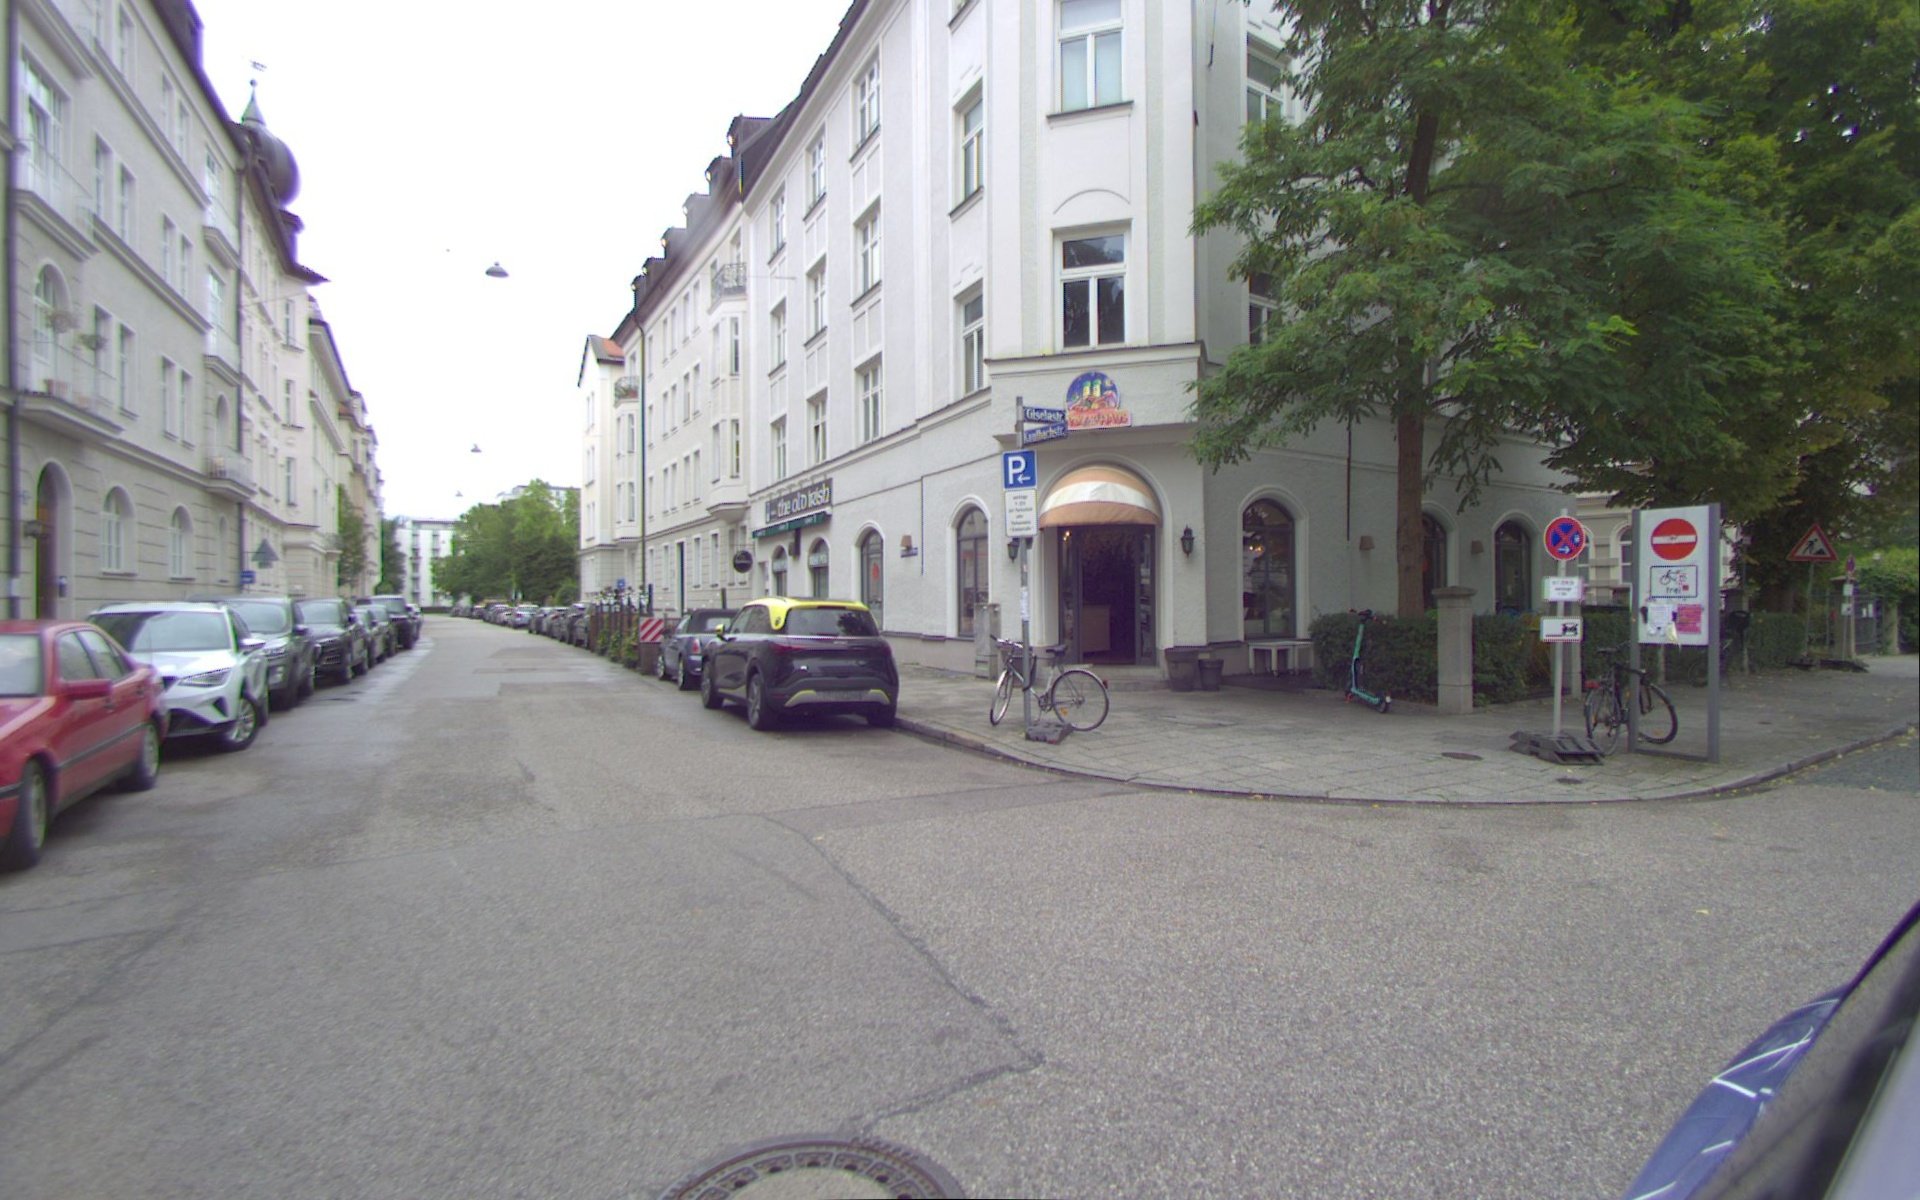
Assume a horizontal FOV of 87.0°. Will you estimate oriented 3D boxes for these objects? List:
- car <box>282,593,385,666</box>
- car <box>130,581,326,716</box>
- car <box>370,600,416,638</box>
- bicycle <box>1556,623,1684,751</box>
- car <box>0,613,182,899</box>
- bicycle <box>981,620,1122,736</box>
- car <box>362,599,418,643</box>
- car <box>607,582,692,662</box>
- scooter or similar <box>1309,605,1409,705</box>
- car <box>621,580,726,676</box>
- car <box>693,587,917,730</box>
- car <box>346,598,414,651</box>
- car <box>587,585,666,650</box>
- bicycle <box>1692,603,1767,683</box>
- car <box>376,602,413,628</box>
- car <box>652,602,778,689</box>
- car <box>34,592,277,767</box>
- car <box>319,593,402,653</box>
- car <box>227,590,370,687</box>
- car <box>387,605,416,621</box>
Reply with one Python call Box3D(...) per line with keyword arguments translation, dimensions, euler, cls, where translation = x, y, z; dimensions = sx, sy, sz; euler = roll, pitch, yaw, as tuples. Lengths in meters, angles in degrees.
Box3D(translation=(-15.766, 0.661, 25.656), dimensions=(1.851, 1.684, 4.299), euler=(0, 0, -27), cls="car")
Box3D(translation=(-10.924, 0.583, 15.417), dimensions=(1.716, 1.733, 4.350), euler=(0, 1, -26), cls="car")
Box3D(translation=(-25.527, 0.820, 45.632), dimensions=(1.629, 1.614, 3.752), euler=(0, 0, -26), cls="car")
Box3D(translation=(6.600, 0.833, 10.099), dimensions=(1.557, 1.161, 0.390), euler=(-1, 0, -30), cls="bicycle")
Box3D(translation=(-6.671, 0.820, 6.676), dimensions=(1.725, 1.375, 4.488), euler=(0, 0, -28), cls="car")
Box3D(translation=(1.005, 0.836, 11.474), dimensions=(0.725, 1.082, 1.607), euler=(-4, 4, -33), cls="bicycle")
Box3D(translation=(-23.089, 0.812, 41.114), dimensions=(1.818, 1.678, 3.937), euler=(-1, 0, -27), cls="car")
Box3D(translation=(-8.334, 0.541, 26.969), dimensions=(1.694, 1.959, 3.666), euler=(-1, 0, -25), cls="car")
Box3D(translation=(5.323, 0.698, 13.590), dimensions=(0.396, 1.186, 1.611), euler=(-1, 2, -13), cls="scooter or similar")
Box3D(translation=(-6.672, 0.589, 23.301), dimensions=(1.738, 1.994, 3.938), euler=(-1, 0, -25), cls="car")
Box3D(translation=(-2.285, 0.677, 13.860), dimensions=(1.866, 1.618, 4.094), euler=(-1, 0, -26), cls="car")
Box3D(translation=(-20.054, 0.794, 35.121), dimensions=(1.795, 1.692, 4.063), euler=(-1, 0, -26), cls="car")
Box3D(translation=(-10.228, 0.492, 30.864), dimensions=(1.707, 1.835, 4.006), euler=(-1, 0, -26), cls="car")
Box3D(translation=(12.670, 0.685, 16.644), dimensions=(1.698, 1.212, 0.429), euler=(-1, 5, -36), cls="bicycle")
Box3D(translation=(-35.715, 0.910, 63.911), dimensions=(1.960, 1.529, 4.003), euler=(-1, 0, -30), cls="car")
Box3D(translation=(-4.683, 0.780, 19.005), dimensions=(1.665, 1.443, 3.546), euler=(-1, 0, -24), cls="car")
Box3D(translation=(-8.540, 0.709, 11.053), dimensions=(1.534, 1.540, 3.902), euler=(-1, 0, -30), cls="car")
Box3D(translation=(-18.233, 0.650, 30.938), dimensions=(1.851, 1.685, 4.298), euler=(-1, 0, -26), cls="car")
Box3D(translation=(-12.844, 0.643, 19.894), dimensions=(1.851, 1.684, 4.299), euler=(0, 0, -26), cls="car")
Box3D(translation=(-45.657, 1.045, 82.696), dimensions=(1.960, 1.294, 4.003), euler=(-1, 0, -31), cls="car")
